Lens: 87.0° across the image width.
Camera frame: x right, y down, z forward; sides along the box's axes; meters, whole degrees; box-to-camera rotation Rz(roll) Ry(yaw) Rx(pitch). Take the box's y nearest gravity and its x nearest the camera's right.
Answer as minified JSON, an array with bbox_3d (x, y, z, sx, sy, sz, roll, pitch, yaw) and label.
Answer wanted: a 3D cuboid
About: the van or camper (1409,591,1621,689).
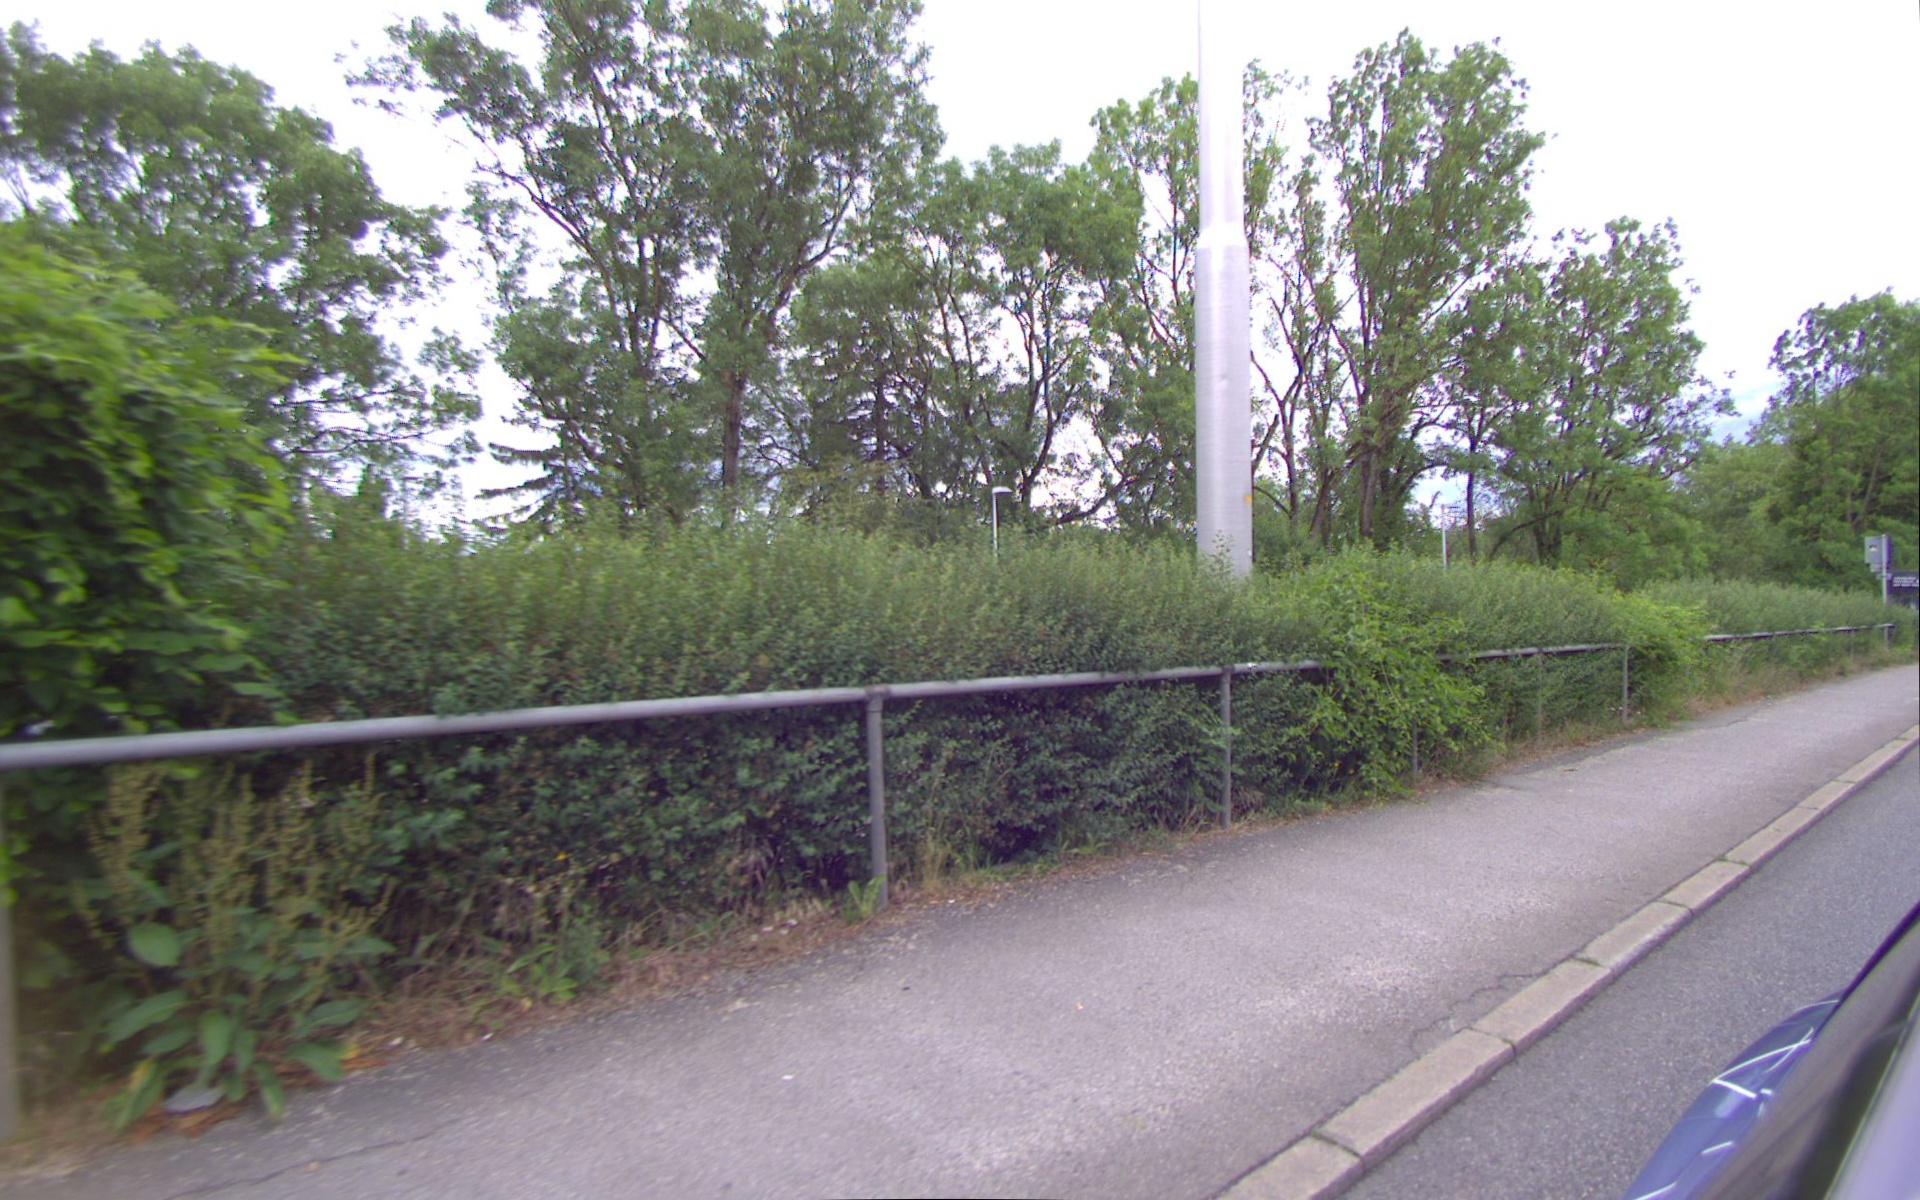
[{"bbox_3d":[15.199,1.022,27.597,6.055,2.358,2.226,1,1,-30],"label":"van or camper"}]
